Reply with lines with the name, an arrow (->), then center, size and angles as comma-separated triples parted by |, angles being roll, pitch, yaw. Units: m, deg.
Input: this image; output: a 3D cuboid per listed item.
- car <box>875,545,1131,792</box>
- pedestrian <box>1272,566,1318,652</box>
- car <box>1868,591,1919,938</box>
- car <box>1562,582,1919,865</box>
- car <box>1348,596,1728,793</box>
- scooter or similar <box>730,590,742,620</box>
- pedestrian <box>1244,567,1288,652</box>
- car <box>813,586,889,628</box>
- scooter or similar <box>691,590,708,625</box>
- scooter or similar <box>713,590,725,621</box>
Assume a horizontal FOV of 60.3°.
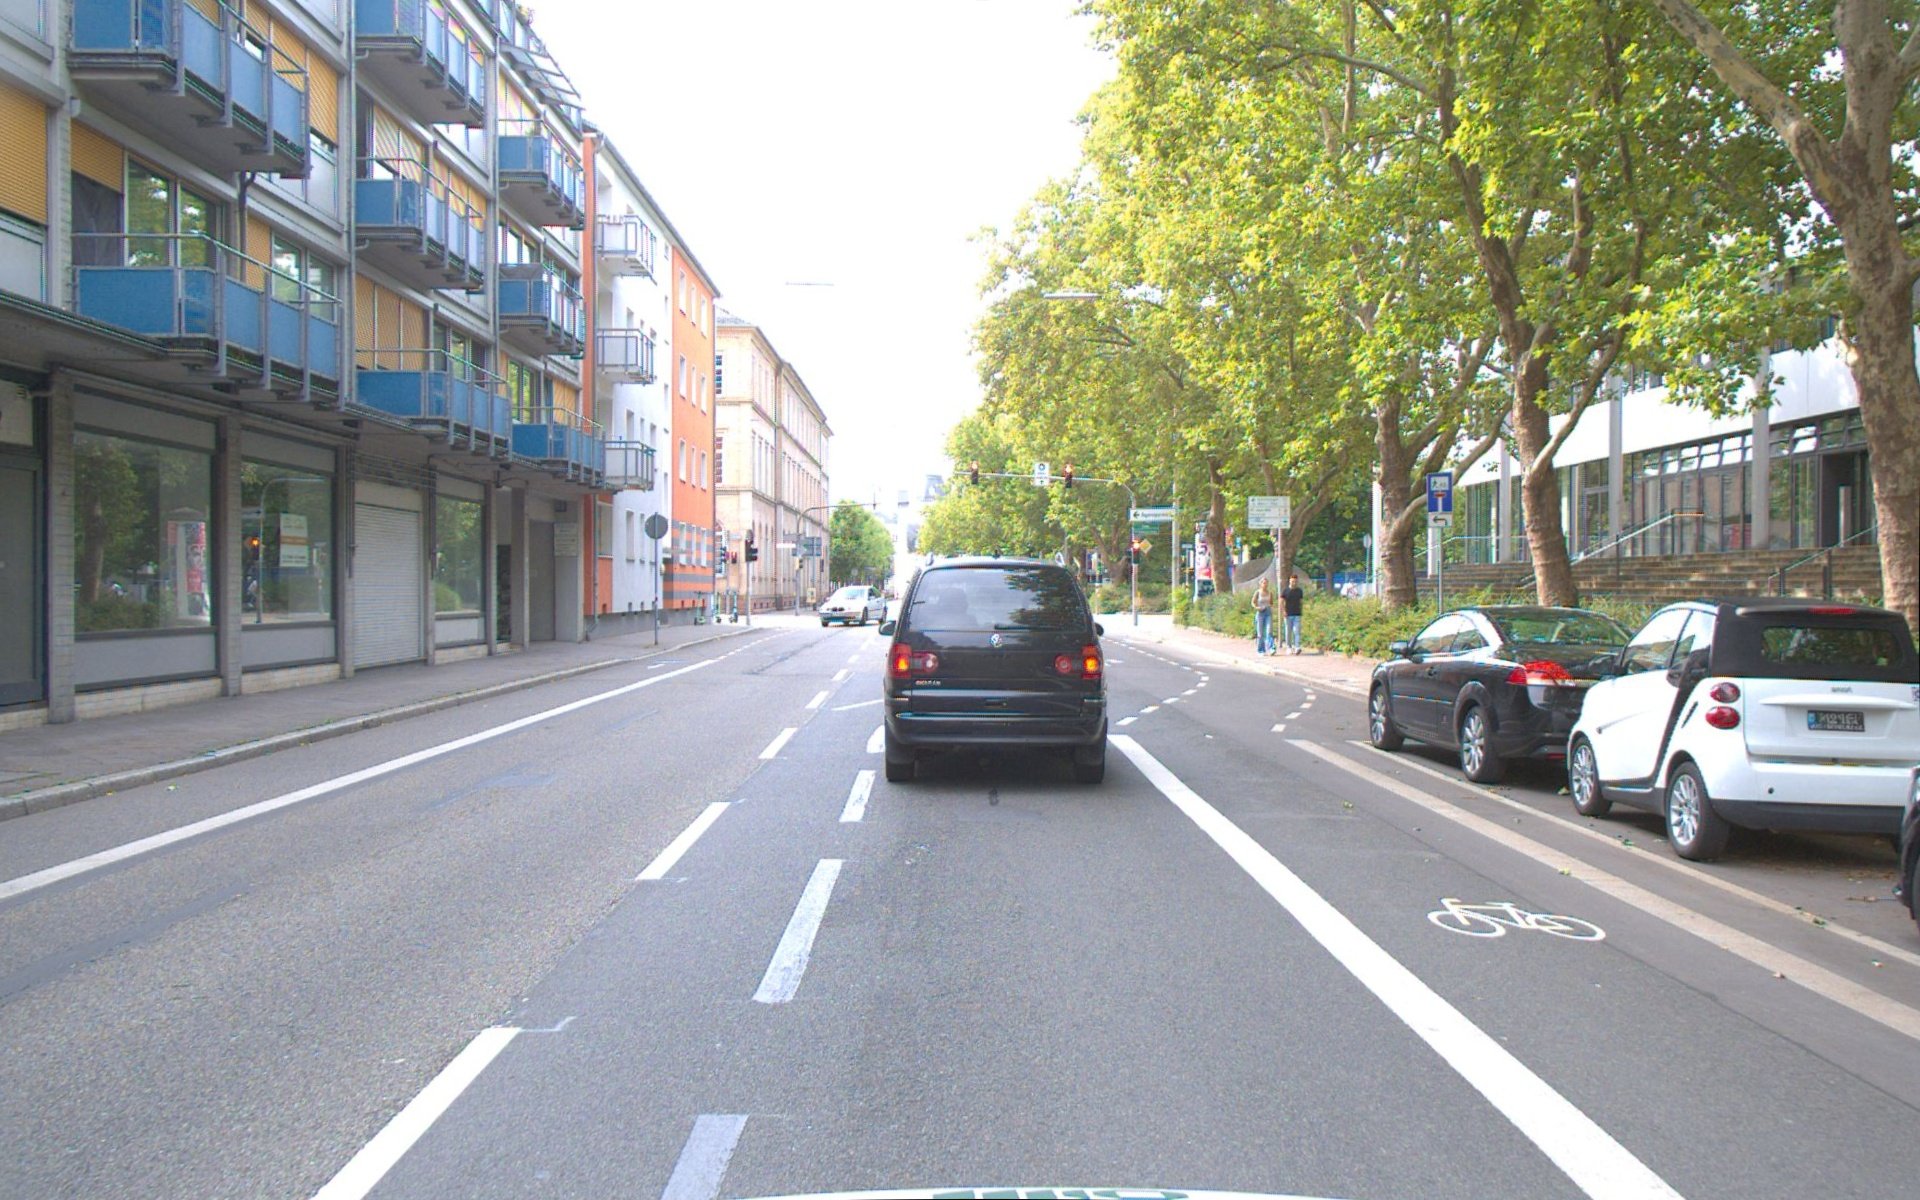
car -> 0.263, 0.470, 14.211 | 1.836, 1.775, 4.572 | 0, 1, -1
pedestrian -> 7.297, 0.198, 36.060 | 0.700, 1.831, 1.033 | -2, 0, -2
car -> 5.003, 0.758, 5.880 | 1.497, 1.528, 3.660 | 2, 0, 0
car -> 5.091, 0.694, 10.680 | 1.504, 1.570, 2.600 | 2, 0, 2
car -> 4.964, 0.723, 14.920 | 1.664, 1.450, 4.419 | 2, 0, -3
scooter or similar -> -8.755, 0.205, 64.573 | 0.370, 1.164, 1.141 | 0, -1, -4
pedestrian -> 6.674, 0.209, 36.096 | 0.696, 1.814, 1.033 | -2, 0, -2
car -> -4.057, 0.242, 62.234 | 1.720, 1.452, 4.103 | -1, 1, 13
scooter or similar -> -9.112, 0.283, 57.903 | 0.370, 1.204, 1.389 | 0, -1, -1
scooter or similar -> -9.338, 0.216, 64.118 | 0.370, 1.167, 1.141 | 0, -1, -4
